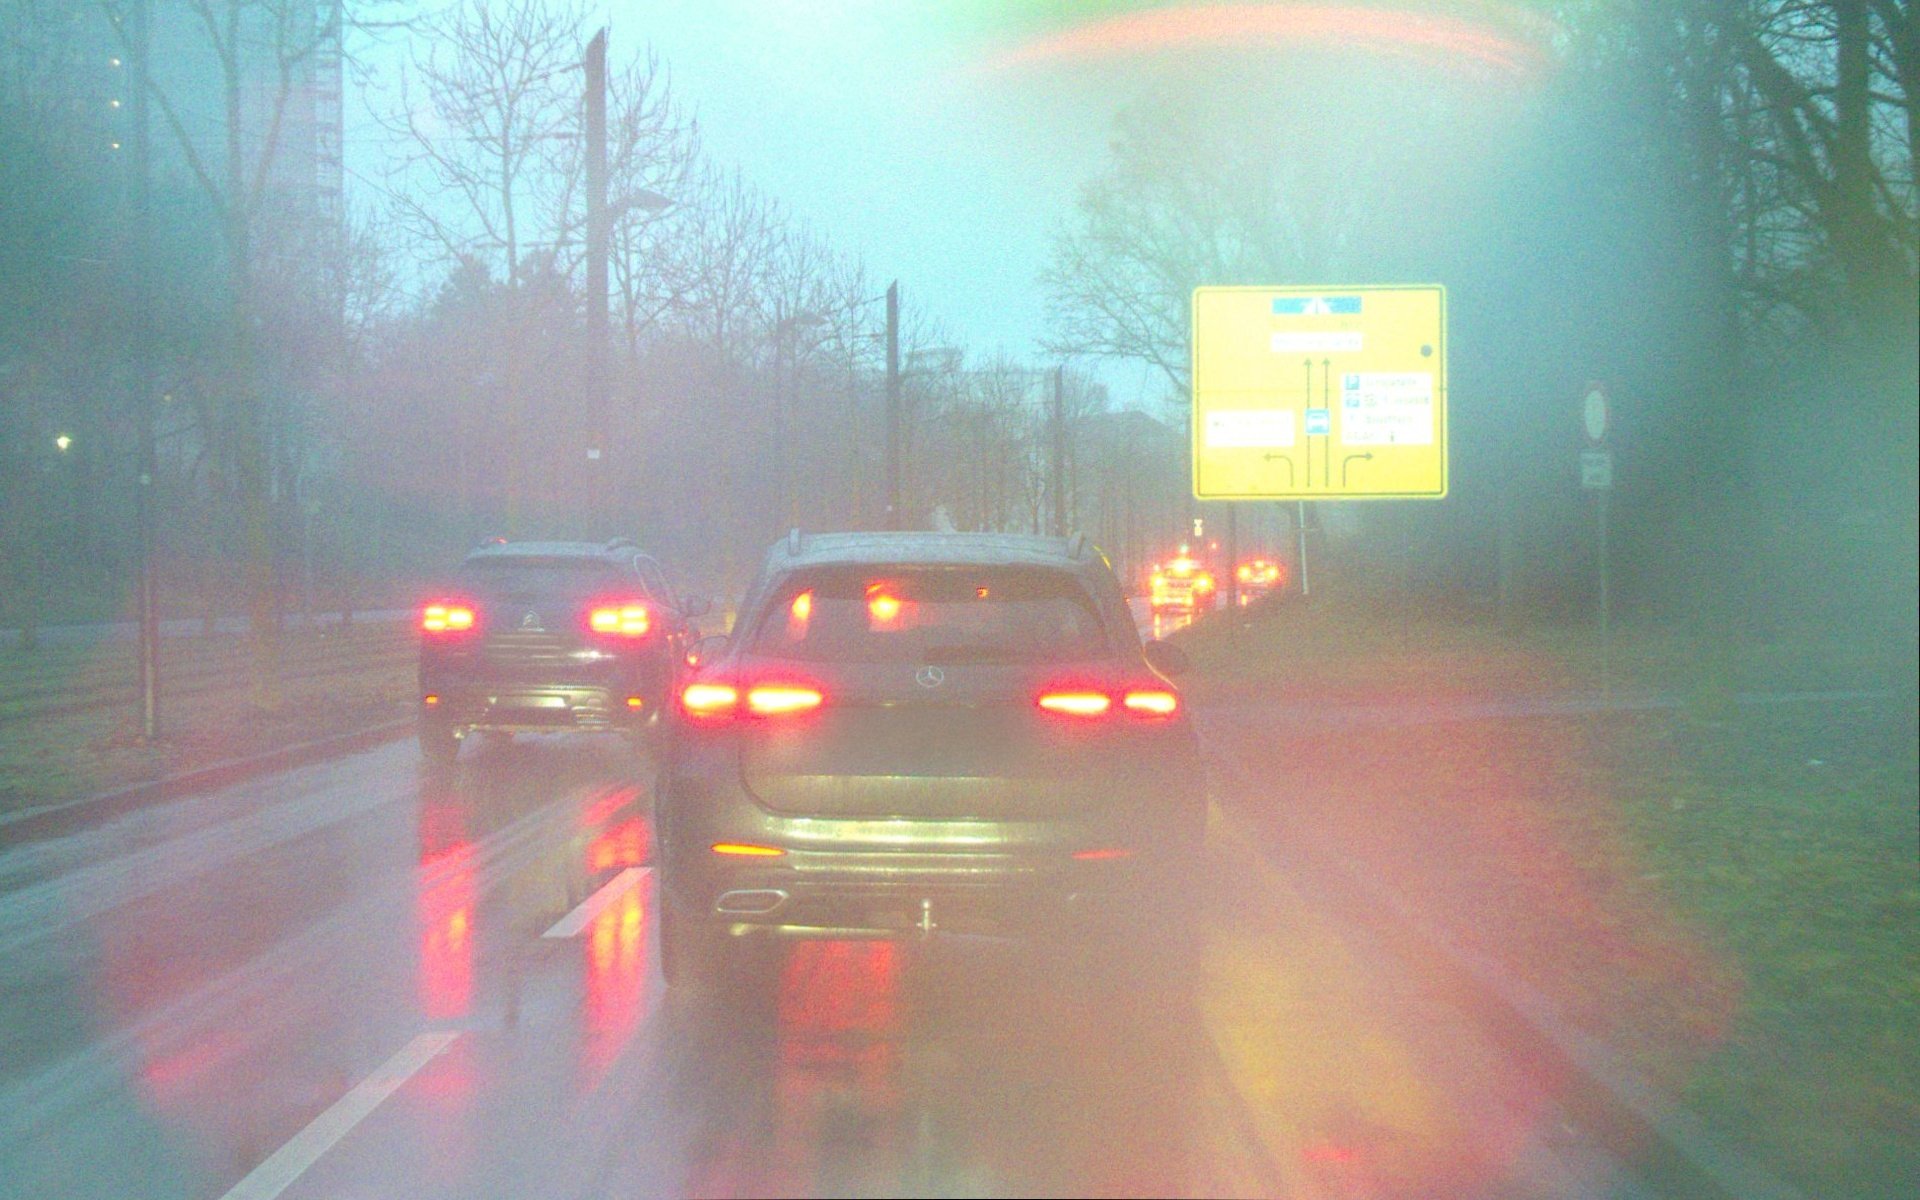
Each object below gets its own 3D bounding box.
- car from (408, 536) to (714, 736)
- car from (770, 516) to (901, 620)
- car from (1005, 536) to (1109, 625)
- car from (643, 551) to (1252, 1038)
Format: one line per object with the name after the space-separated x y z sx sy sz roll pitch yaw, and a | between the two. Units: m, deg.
-3.067 0.225 27.195 1.880 1.454 4.000 0 1 1 | car
-1.949 -0.532 54.810 1.880 1.588 4.000 0 1 1 | car
1.712 -0.361 61.672 1.708 1.552 3.996 0 1 -1 | car
-0.155 0.619 13.356 1.998 1.578 4.001 1 1 -3 | car
